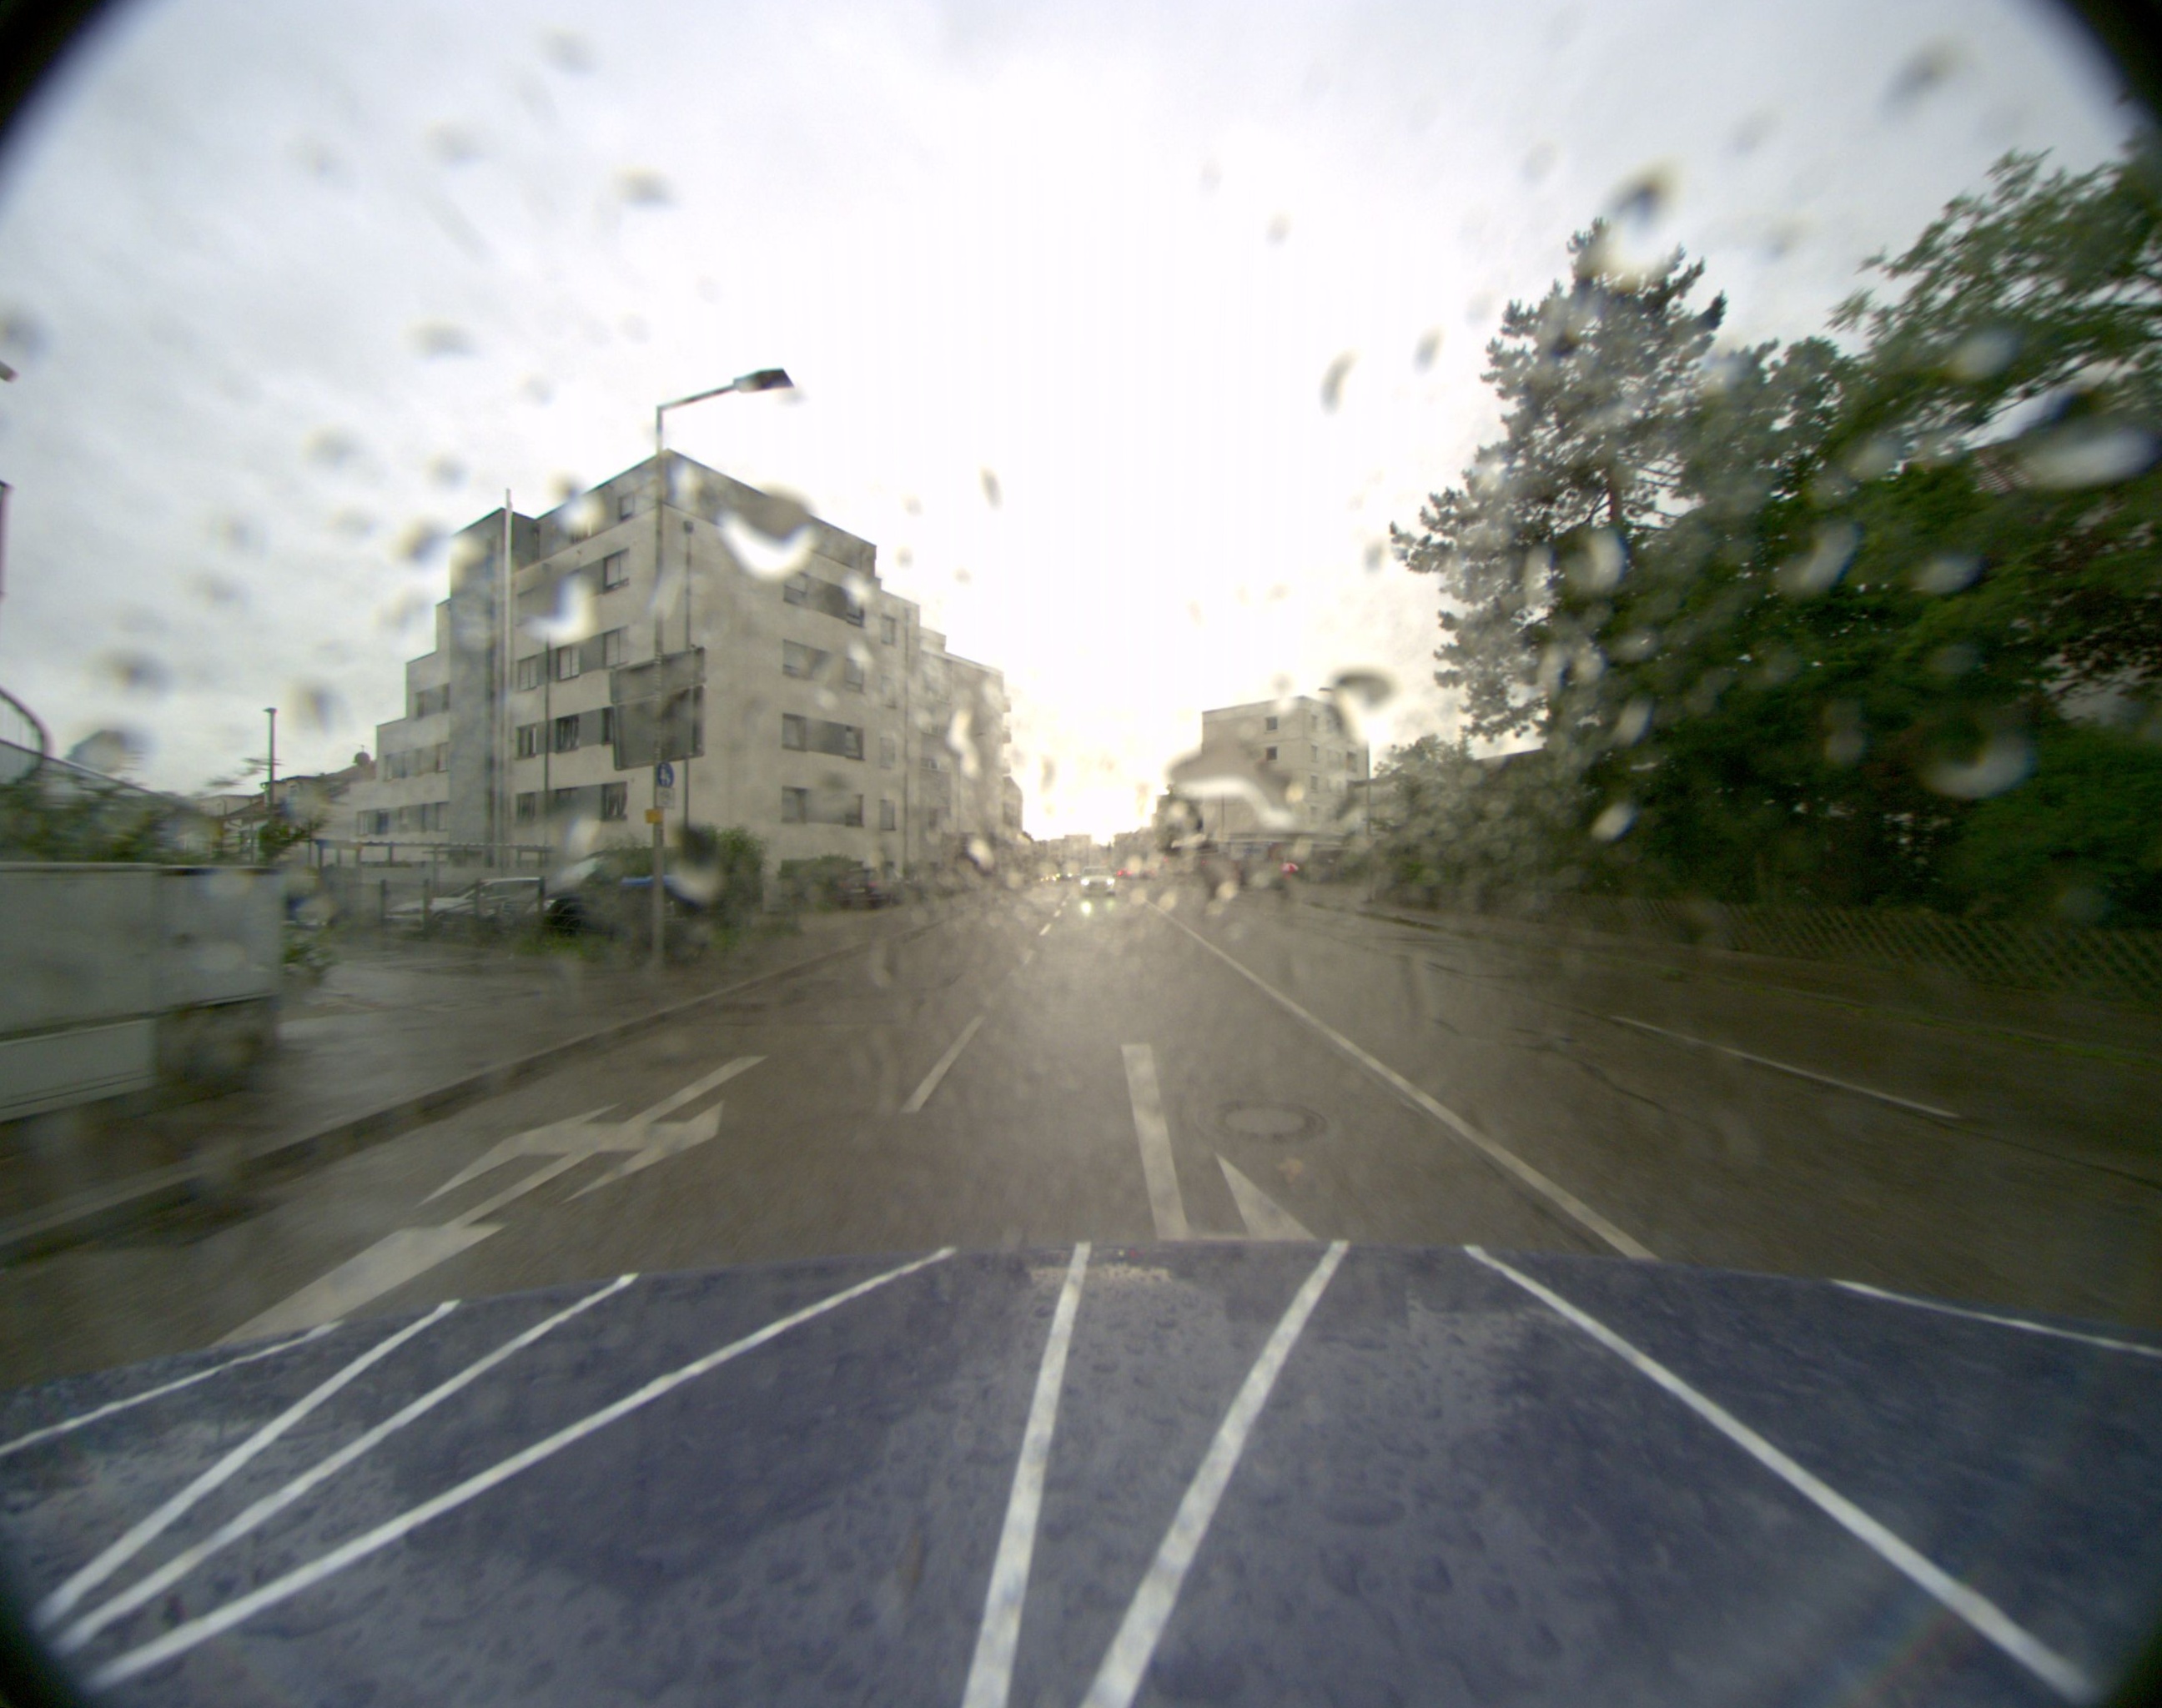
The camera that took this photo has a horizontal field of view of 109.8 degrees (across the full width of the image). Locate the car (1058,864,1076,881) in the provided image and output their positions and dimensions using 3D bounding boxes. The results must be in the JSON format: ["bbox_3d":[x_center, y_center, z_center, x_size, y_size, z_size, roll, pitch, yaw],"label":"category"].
[{"bbox_3d":[-1.712,2.323,93.953,1.998,2.001,4.002,0,-2,3],"label":"car"}]

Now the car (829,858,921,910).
[{"bbox_3d":[-7.481,1.060,28.133,1.998,1.775,4.692,0,-1,2],"label":"car"}]

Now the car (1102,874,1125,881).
[{"bbox_3d":[7.629,5.586,179.446,5.465,1.673,2.153,-2,-3,43],"label":"car"}]

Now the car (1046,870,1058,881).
[{"bbox_3d":[-5.399,4.053,140.874,1.998,2.001,4.002,0,-2,2],"label":"car"}]

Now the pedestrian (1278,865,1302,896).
[{"bbox_3d":[10.990,1.386,40.065,0.872,1.597,1.103,0,0,-6],"label":"pedestrian"}]

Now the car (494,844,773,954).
[{"bbox_3d":[-9.401,0.866,16.415,1.994,2.001,4.790,0,-1,34],"label":"car"}]

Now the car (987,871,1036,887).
[{"bbox_3d":[-6.641,2.372,72.537,4.260,1.485,1.877,-2,-3,29],"label":"car"}]

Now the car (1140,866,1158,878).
[{"bbox_3d":[8.583,2.247,95.924,1.702,1.400,4.001,2,-2,-2],"label":"car"}]

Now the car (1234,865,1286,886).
[{"bbox_3d":[13.835,1.626,58.573,1.994,1.537,4.481,0,0,43],"label":"car"}]

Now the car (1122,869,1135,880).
[{"bbox_3d":[6.758,2.907,108.393,1.806,1.547,4.321,-1,-2,4],"label":"car"}]

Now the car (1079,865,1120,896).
[{"bbox_3d":[0.858,1.342,38.164,1.830,1.430,4.345,-1,-2,-2],"label":"car"}]
